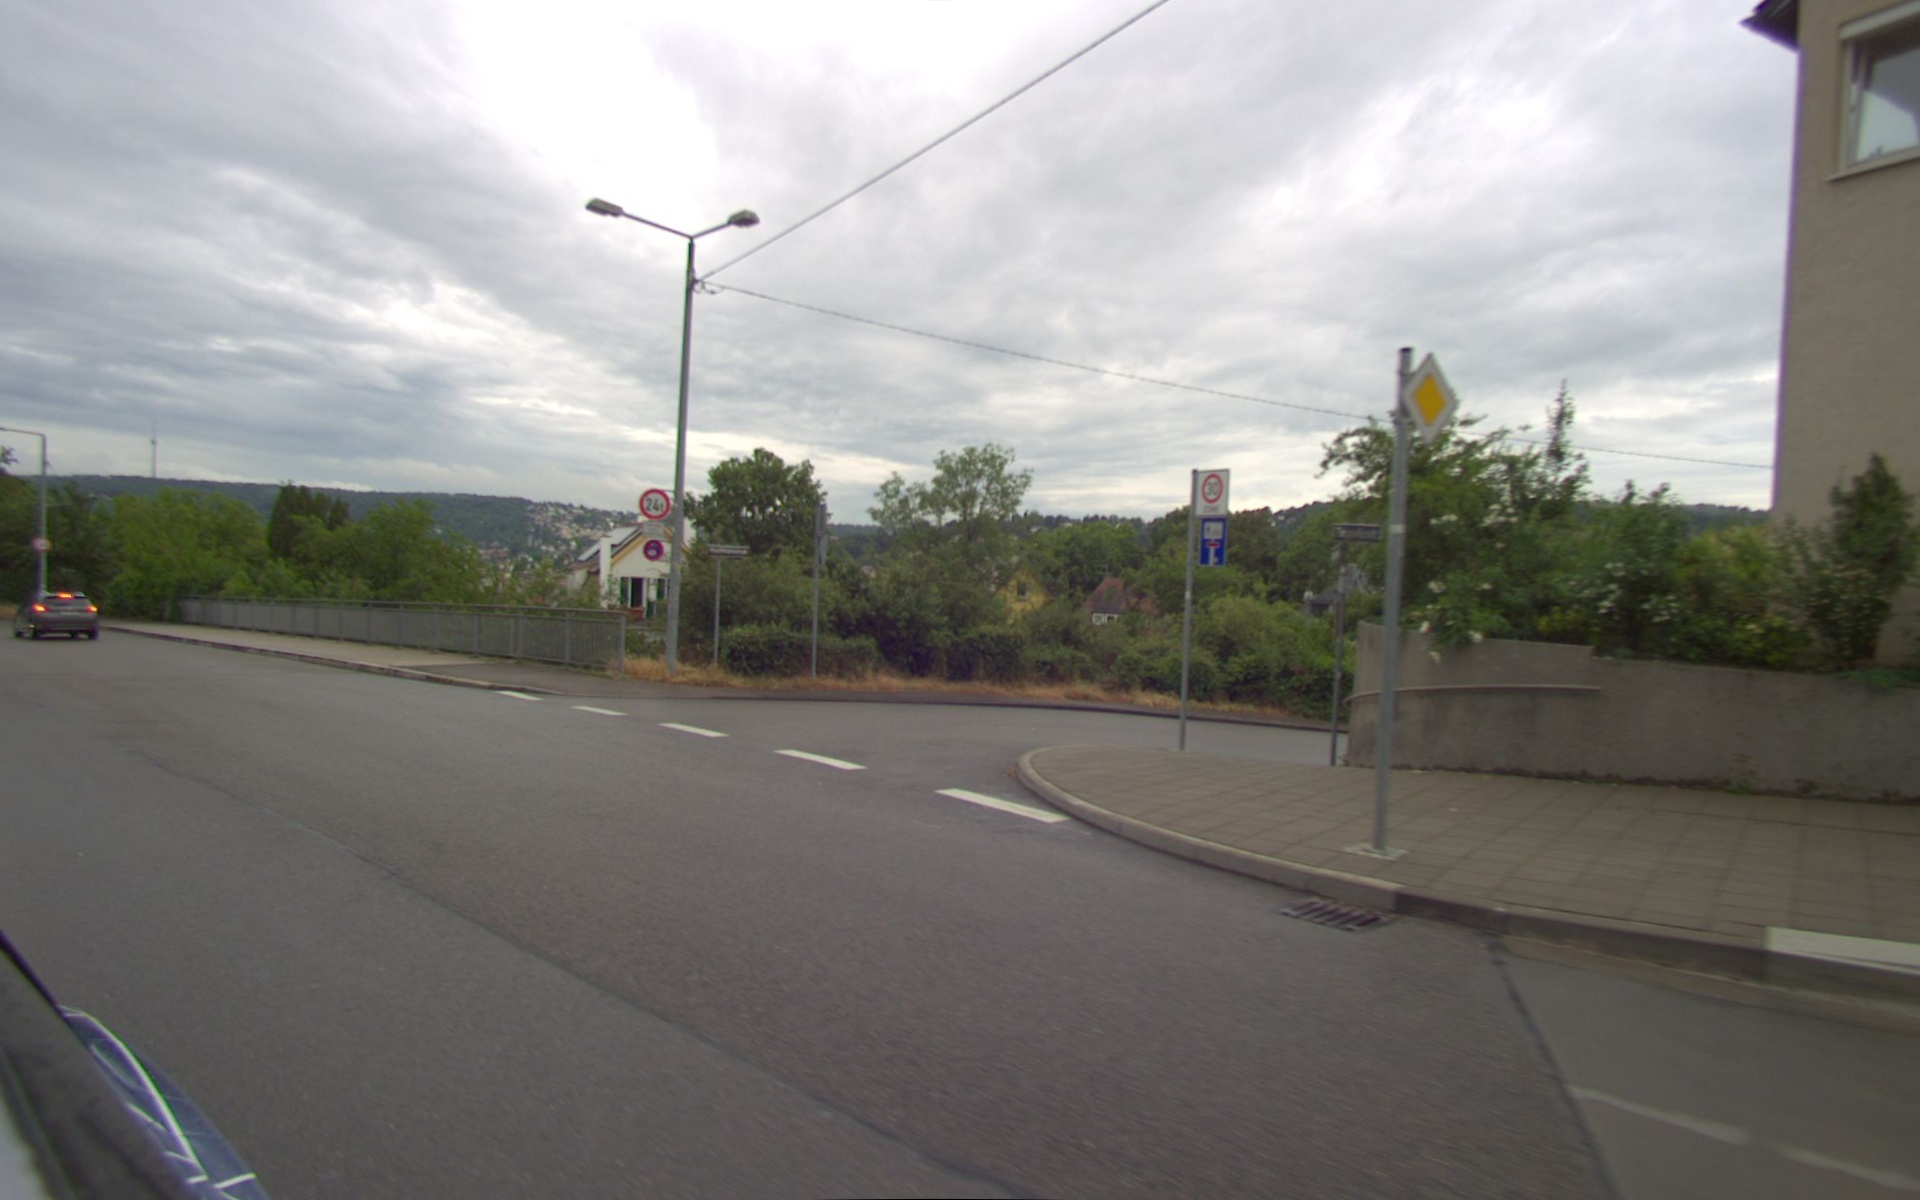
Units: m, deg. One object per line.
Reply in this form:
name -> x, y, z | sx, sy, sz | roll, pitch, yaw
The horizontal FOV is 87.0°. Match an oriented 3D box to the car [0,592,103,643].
car -> -30.186, 0.566, 33.521 | 3.989, 1.557, 1.719 | 1, -1, 34
